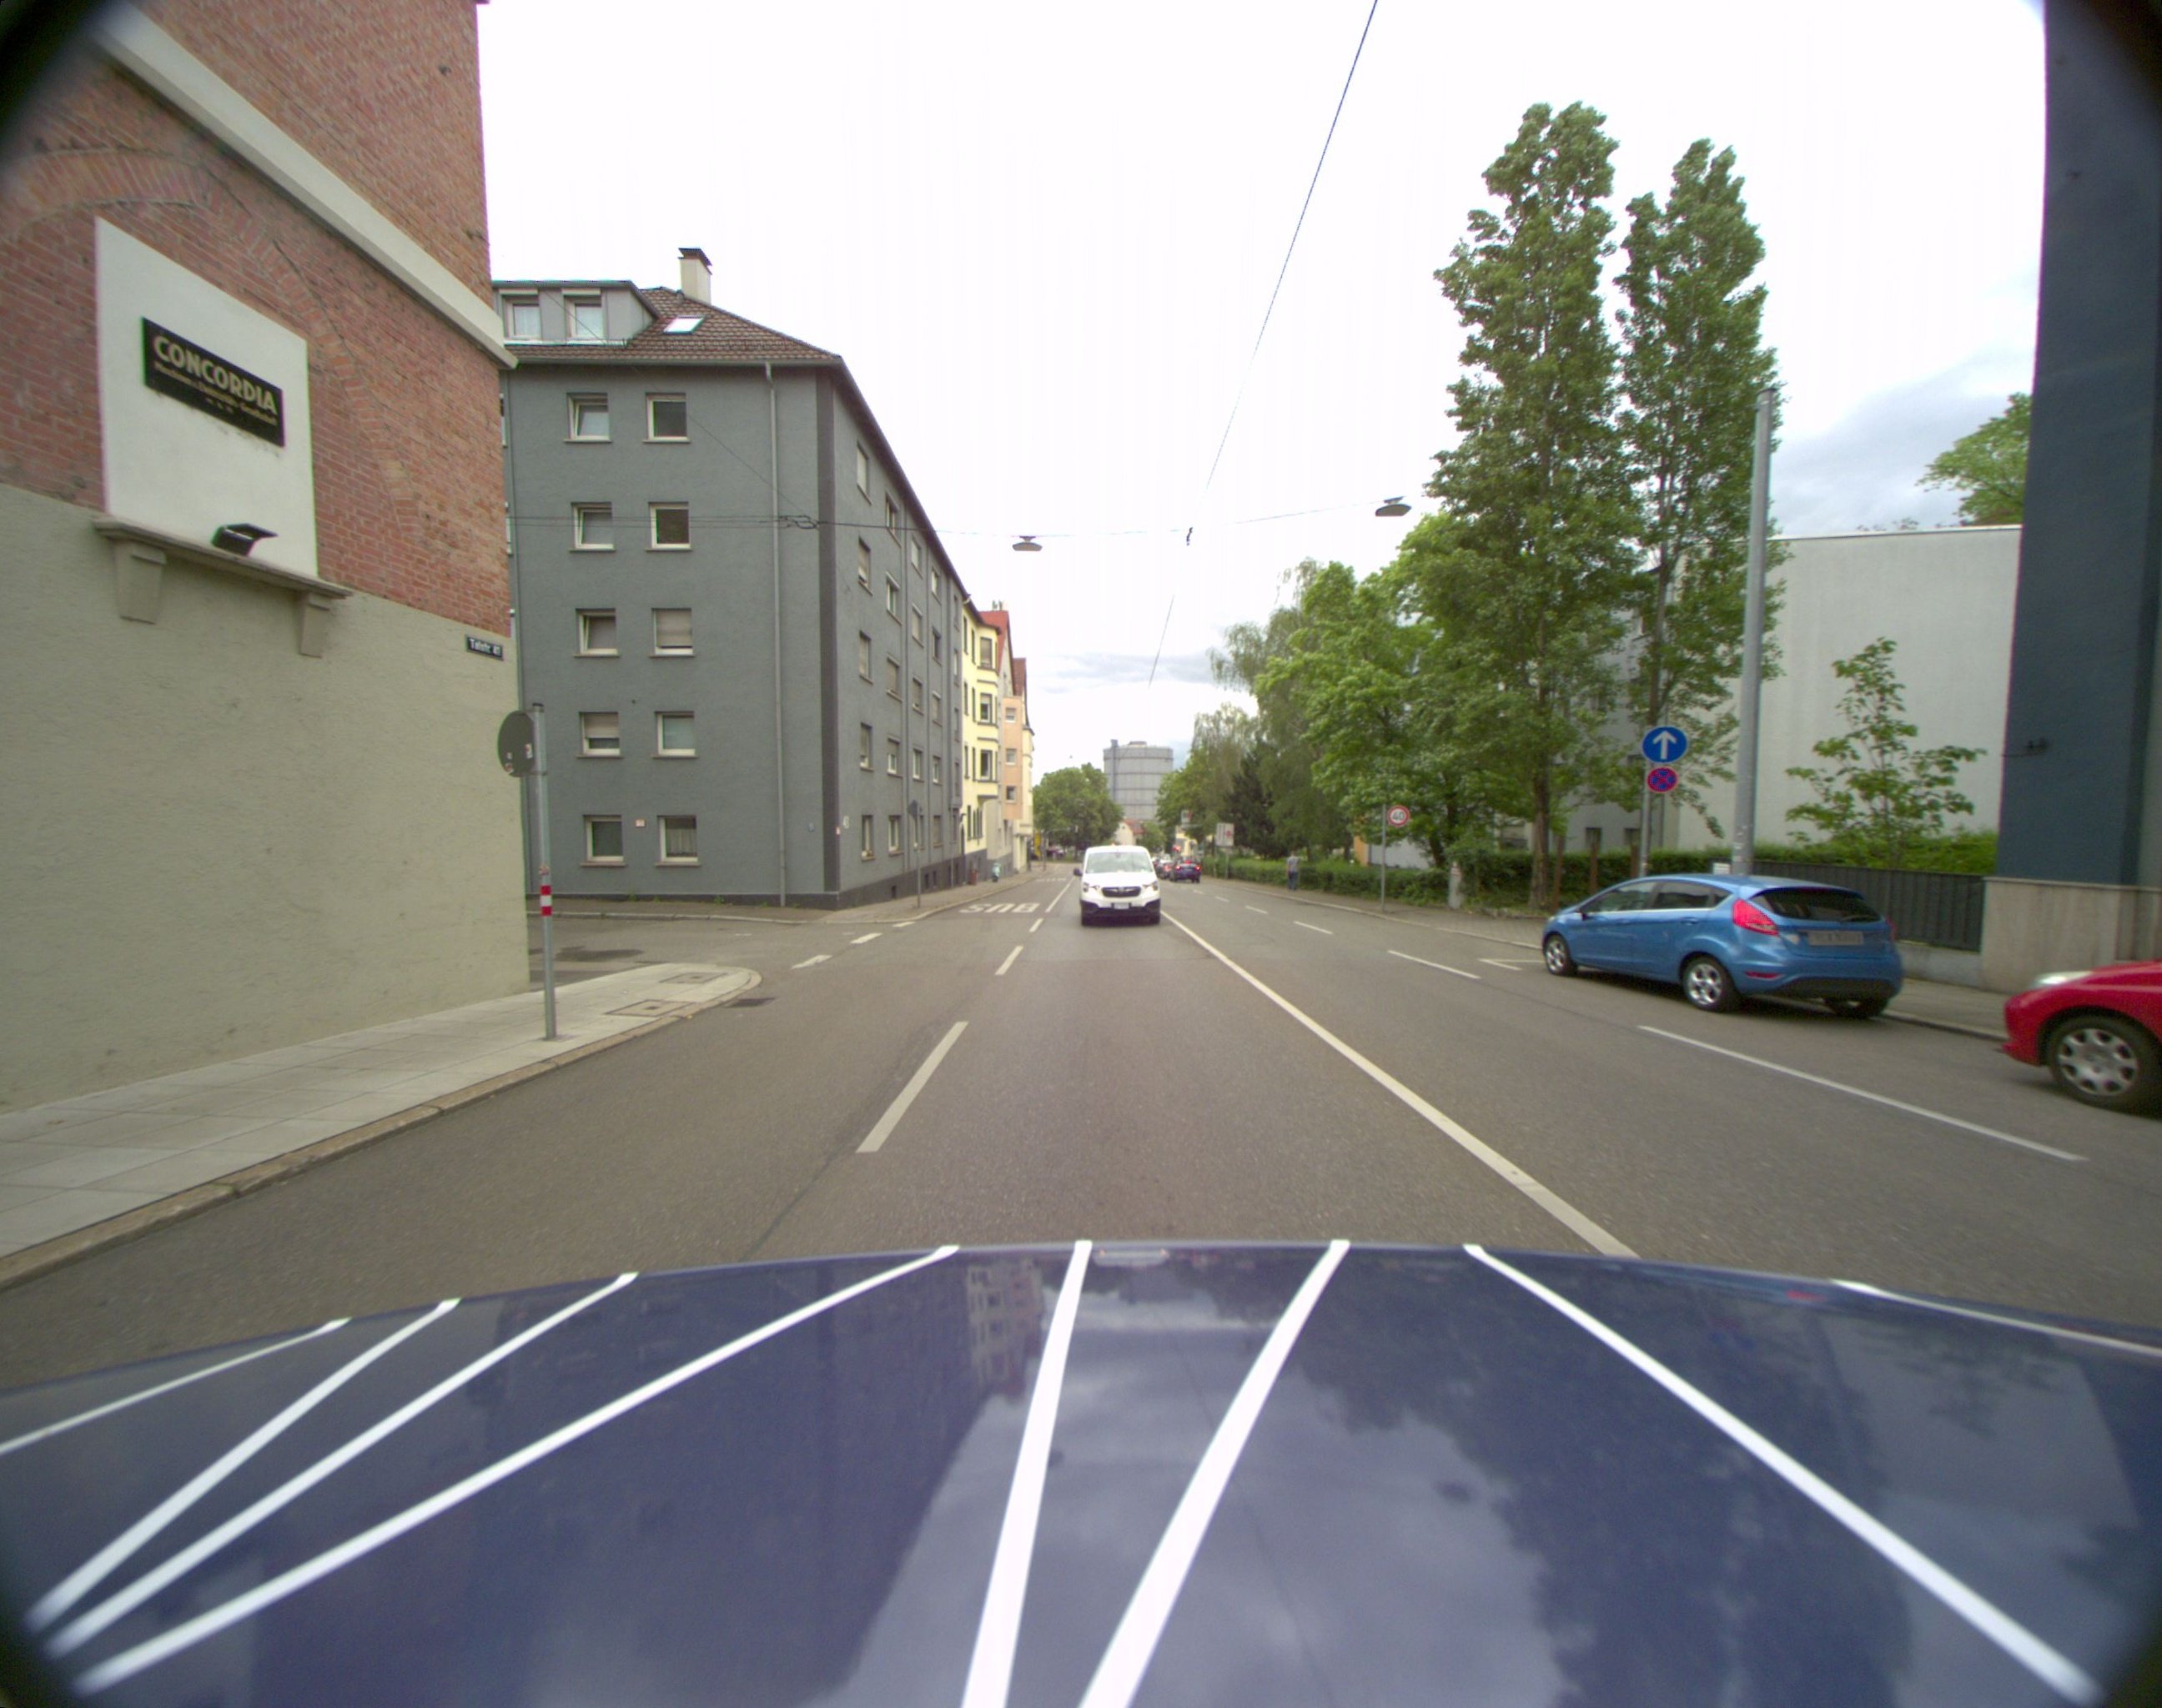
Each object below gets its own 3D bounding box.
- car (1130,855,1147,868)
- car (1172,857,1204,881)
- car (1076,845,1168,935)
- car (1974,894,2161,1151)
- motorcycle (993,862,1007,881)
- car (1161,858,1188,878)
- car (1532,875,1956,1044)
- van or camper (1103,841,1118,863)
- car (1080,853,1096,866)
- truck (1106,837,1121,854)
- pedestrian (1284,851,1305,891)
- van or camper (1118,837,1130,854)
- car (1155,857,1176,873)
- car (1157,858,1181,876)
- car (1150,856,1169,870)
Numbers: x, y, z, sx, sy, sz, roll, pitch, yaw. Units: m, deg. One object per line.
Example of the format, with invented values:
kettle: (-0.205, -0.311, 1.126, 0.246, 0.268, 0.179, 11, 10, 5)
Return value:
car: (6.536, 0.866, 86.532, 1.724, 1.408, 3.727, 1, 0, 2)
car: (7.233, 0.984, 51.589, 1.724, 1.475, 3.727, 1, 0, 2)
car: (0.895, 0.727, 18.053, 1.840, 1.797, 4.939, -2, 0, 1)
car: (7.274, 1.055, 3.484, 1.819, 1.465, 3.869, 2, 0, 2)
motorcycle: (-5.091, 1.066, 47.597, 0.566, 1.105, 1.653, 5, 0, 2)
car: (7.306, 1.065, 59.475, 1.724, 1.408, 3.727, 1, 0, 2)
car: (7.334, 1.040, 8.997, 1.724, 1.445, 3.727, 1, 0, 0)
van or camper: (3.814, -0.275, 99.024, 1.914, 2.754, 5.925, 1, 0, 2)
car: (0.875, 0.650, 89.374, 1.724, 1.486, 3.727, 1, 0, 2)
truck: (6.757, -1.831, 159.496, 2.980, 3.394, 9.358, -2, 0, 1)
pedestrian: (9.942, 0.769, 35.407, 0.746, 1.839, 0.776, -1, 1, 2)
van or camper: (7.231, -1.422, 128.749, 1.914, 2.754, 5.925, 1, 0, 2)
car: (8.039, 1.004, 72.478, 1.724, 1.408, 3.727, 1, 0, 2)
car: (7.698, 1.111, 66.617, 1.724, 1.408, 3.727, 1, 0, 2)
car: (8.155, 0.903, 79.128, 1.724, 1.408, 3.727, 1, 0, 2)
